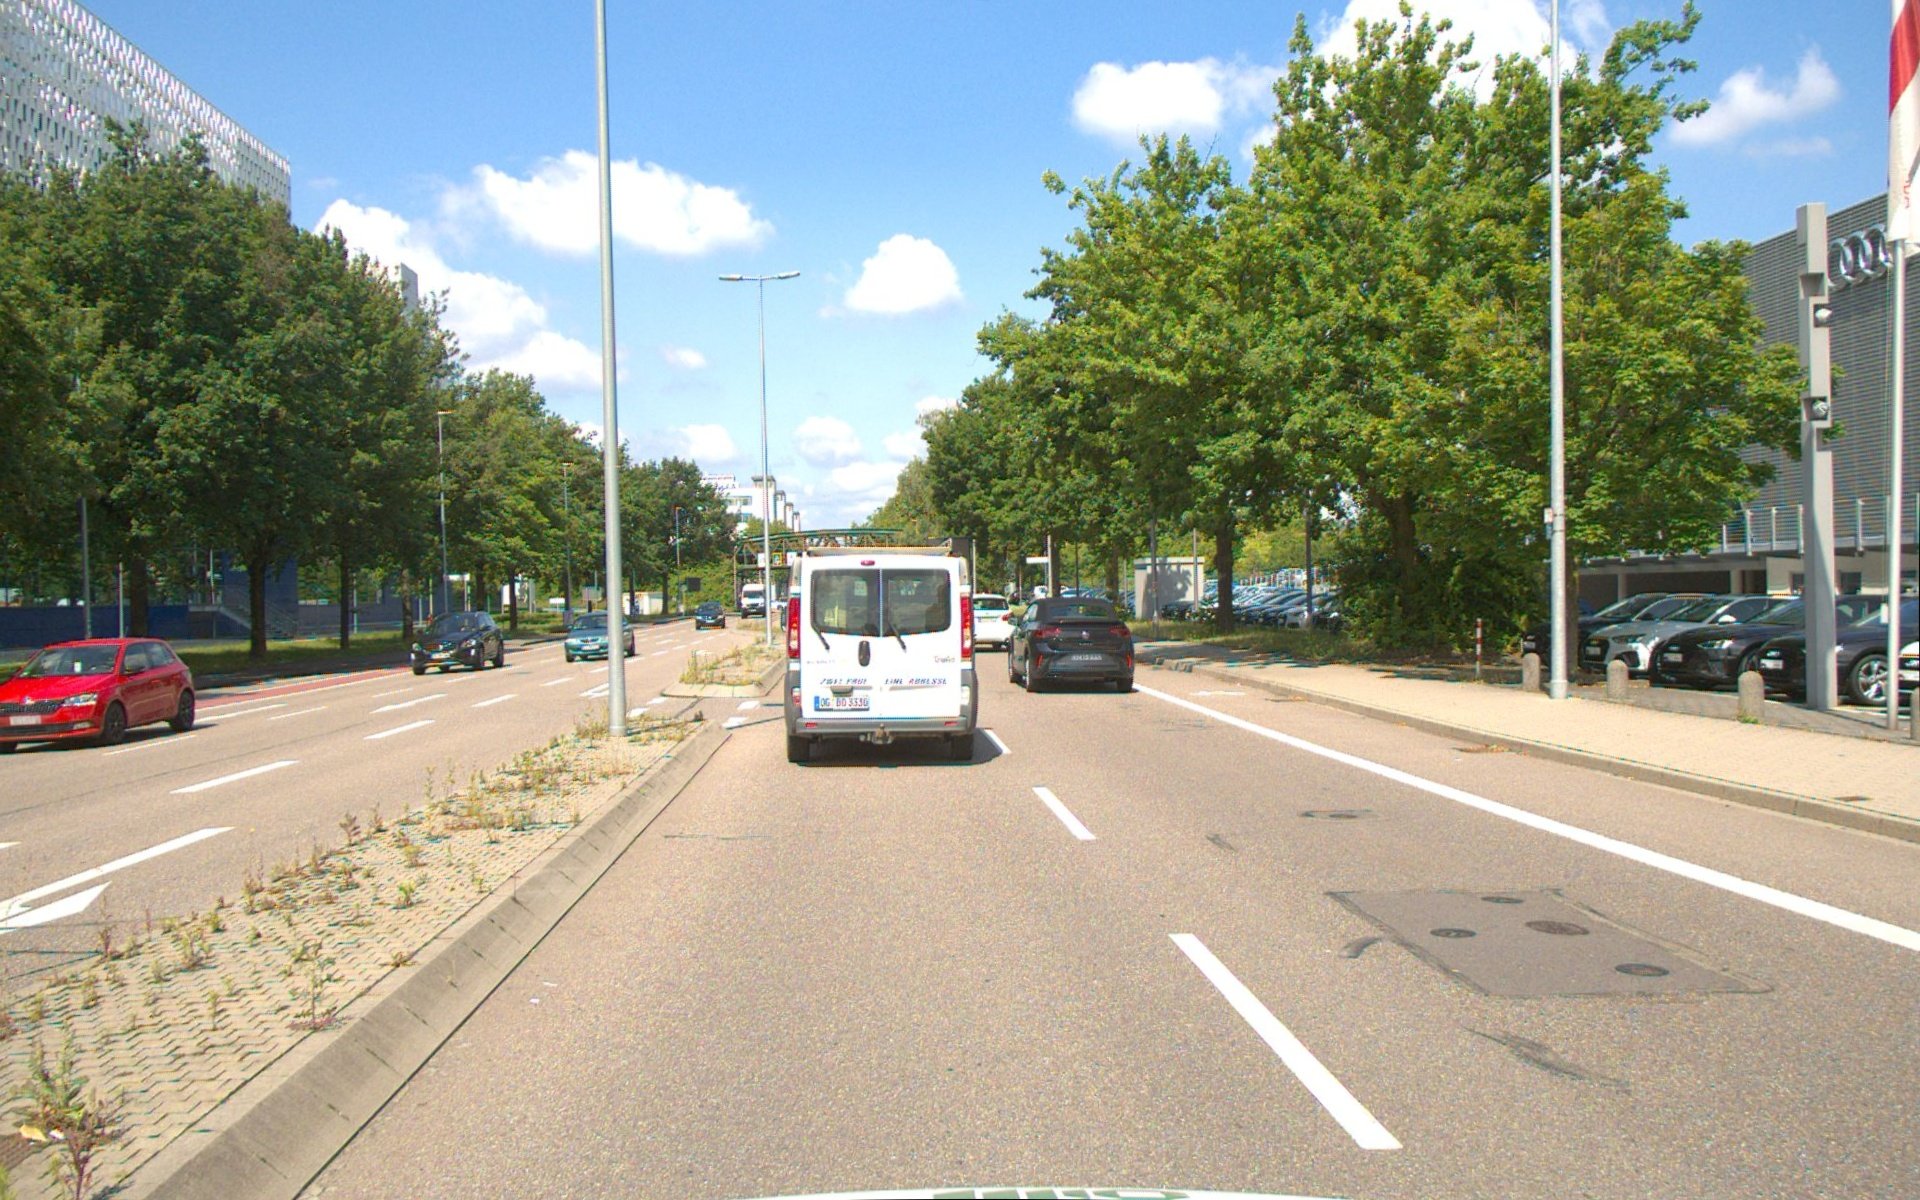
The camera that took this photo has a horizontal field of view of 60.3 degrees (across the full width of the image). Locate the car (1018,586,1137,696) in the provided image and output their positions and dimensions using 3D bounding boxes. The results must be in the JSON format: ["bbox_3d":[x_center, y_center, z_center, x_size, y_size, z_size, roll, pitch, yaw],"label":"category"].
[{"bbox_3d":[1.932,0.626,28.132,1.737,1.657,4.000,-1,1,0],"label":"car"}]

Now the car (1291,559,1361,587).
[{"bbox_3d":[24.346,-1.813,110.090,4.266,1.805,1.936,0,2,-1],"label":"car"}]

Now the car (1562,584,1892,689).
[{"bbox_3d":[12.422,0.570,26.972,4.484,1.429,1.906,2,2,-4],"label":"car"}]

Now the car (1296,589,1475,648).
[{"bbox_3d":[11.894,0.506,46.410,4.484,1.525,1.906,-1,0,-4],"label":"car"}]

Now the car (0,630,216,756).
[{"bbox_3d":[-12.525,1.294,24.058,1.653,1.508,4.122,-3,0,-3],"label":"car"}]

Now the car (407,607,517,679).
[{"bbox_3d":[-14.163,1.179,47.312,1.890,1.785,4.816,-4,0,-4],"label":"car"}]

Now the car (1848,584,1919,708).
[{"bbox_3d":[12.798,0.497,18.761,4.484,1.320,1.906,0,2,-4],"label":"car"}]

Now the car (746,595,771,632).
[{"bbox_3d":[-16.736,1.128,137.145,1.985,2.944,6.371,-1,0,-8],"label":"car"}]

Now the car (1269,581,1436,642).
[{"bbox_3d":[11.628,0.333,49.149,4.484,1.707,1.906,0,2,-4],"label":"car"}]

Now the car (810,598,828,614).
[{"bbox_3d":[-17.015,0.690,199.877,1.953,1.802,3.999,0,2,-2],"label":"car"}]

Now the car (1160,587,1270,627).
[{"bbox_3d":[10.733,0.288,69.735,4.268,1.539,1.854,-2,0,-3],"label":"car"}]

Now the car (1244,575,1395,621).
[{"bbox_3d":[11.704,-0.078,54.025,4.484,1.429,1.906,0,2,-4],"label":"car"}]

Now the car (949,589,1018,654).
[{"bbox_3d":[0.619,0.557,46.632,1.738,1.657,3.999,-1,1,-2],"label":"car"}]

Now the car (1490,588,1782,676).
[{"bbox_3d":[12.125,0.554,29.842,4.484,1.429,1.906,1,2,-4],"label":"car"}]

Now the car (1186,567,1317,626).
[{"bbox_3d":[10.788,-0.148,61.474,4.484,2.085,1.906,0,2,-4],"label":"car"}]

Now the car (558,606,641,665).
[{"bbox_3d":[-10.979,1.051,50.653,1.738,1.575,4.816,-4,0,-4],"label":"car"}]

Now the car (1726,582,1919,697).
[{"bbox_3d":[12.730,0.557,21.669,4.485,1.320,1.906,3,2,-4],"label":"car"}]

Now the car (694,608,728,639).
[{"bbox_3d":[-14.806,1.384,98.533,1.705,1.637,4.236,-5,1,-6],"label":"car"}]

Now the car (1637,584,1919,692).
[{"bbox_3d":[12.542,0.540,24.186,4.484,1.407,1.906,1,2,-4],"label":"car"}]

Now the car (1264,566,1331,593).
[{"bbox_3d":[23.533,-1.457,115.387,4.266,1.805,1.936,0,2,-1],"label":"car"}]

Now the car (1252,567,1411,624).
[{"bbox_3d":[11.534,-0.154,51.552,4.484,1.707,1.906,0,2,-4],"label":"car"}]

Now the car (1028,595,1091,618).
[{"bbox_3d":[7.102,0.441,118.602,4.270,1.539,1.934,0,2,-5],"label":"car"}]

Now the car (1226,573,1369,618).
[{"bbox_3d":[11.517,-0.164,56.628,4.484,1.429,1.906,0,2,-4],"label":"car"}]

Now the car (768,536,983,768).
[{"bbox_3d":[-0.817,0.423,17.382,1.933,2.095,4.564,-1,1,-1],"label":"car"}]
